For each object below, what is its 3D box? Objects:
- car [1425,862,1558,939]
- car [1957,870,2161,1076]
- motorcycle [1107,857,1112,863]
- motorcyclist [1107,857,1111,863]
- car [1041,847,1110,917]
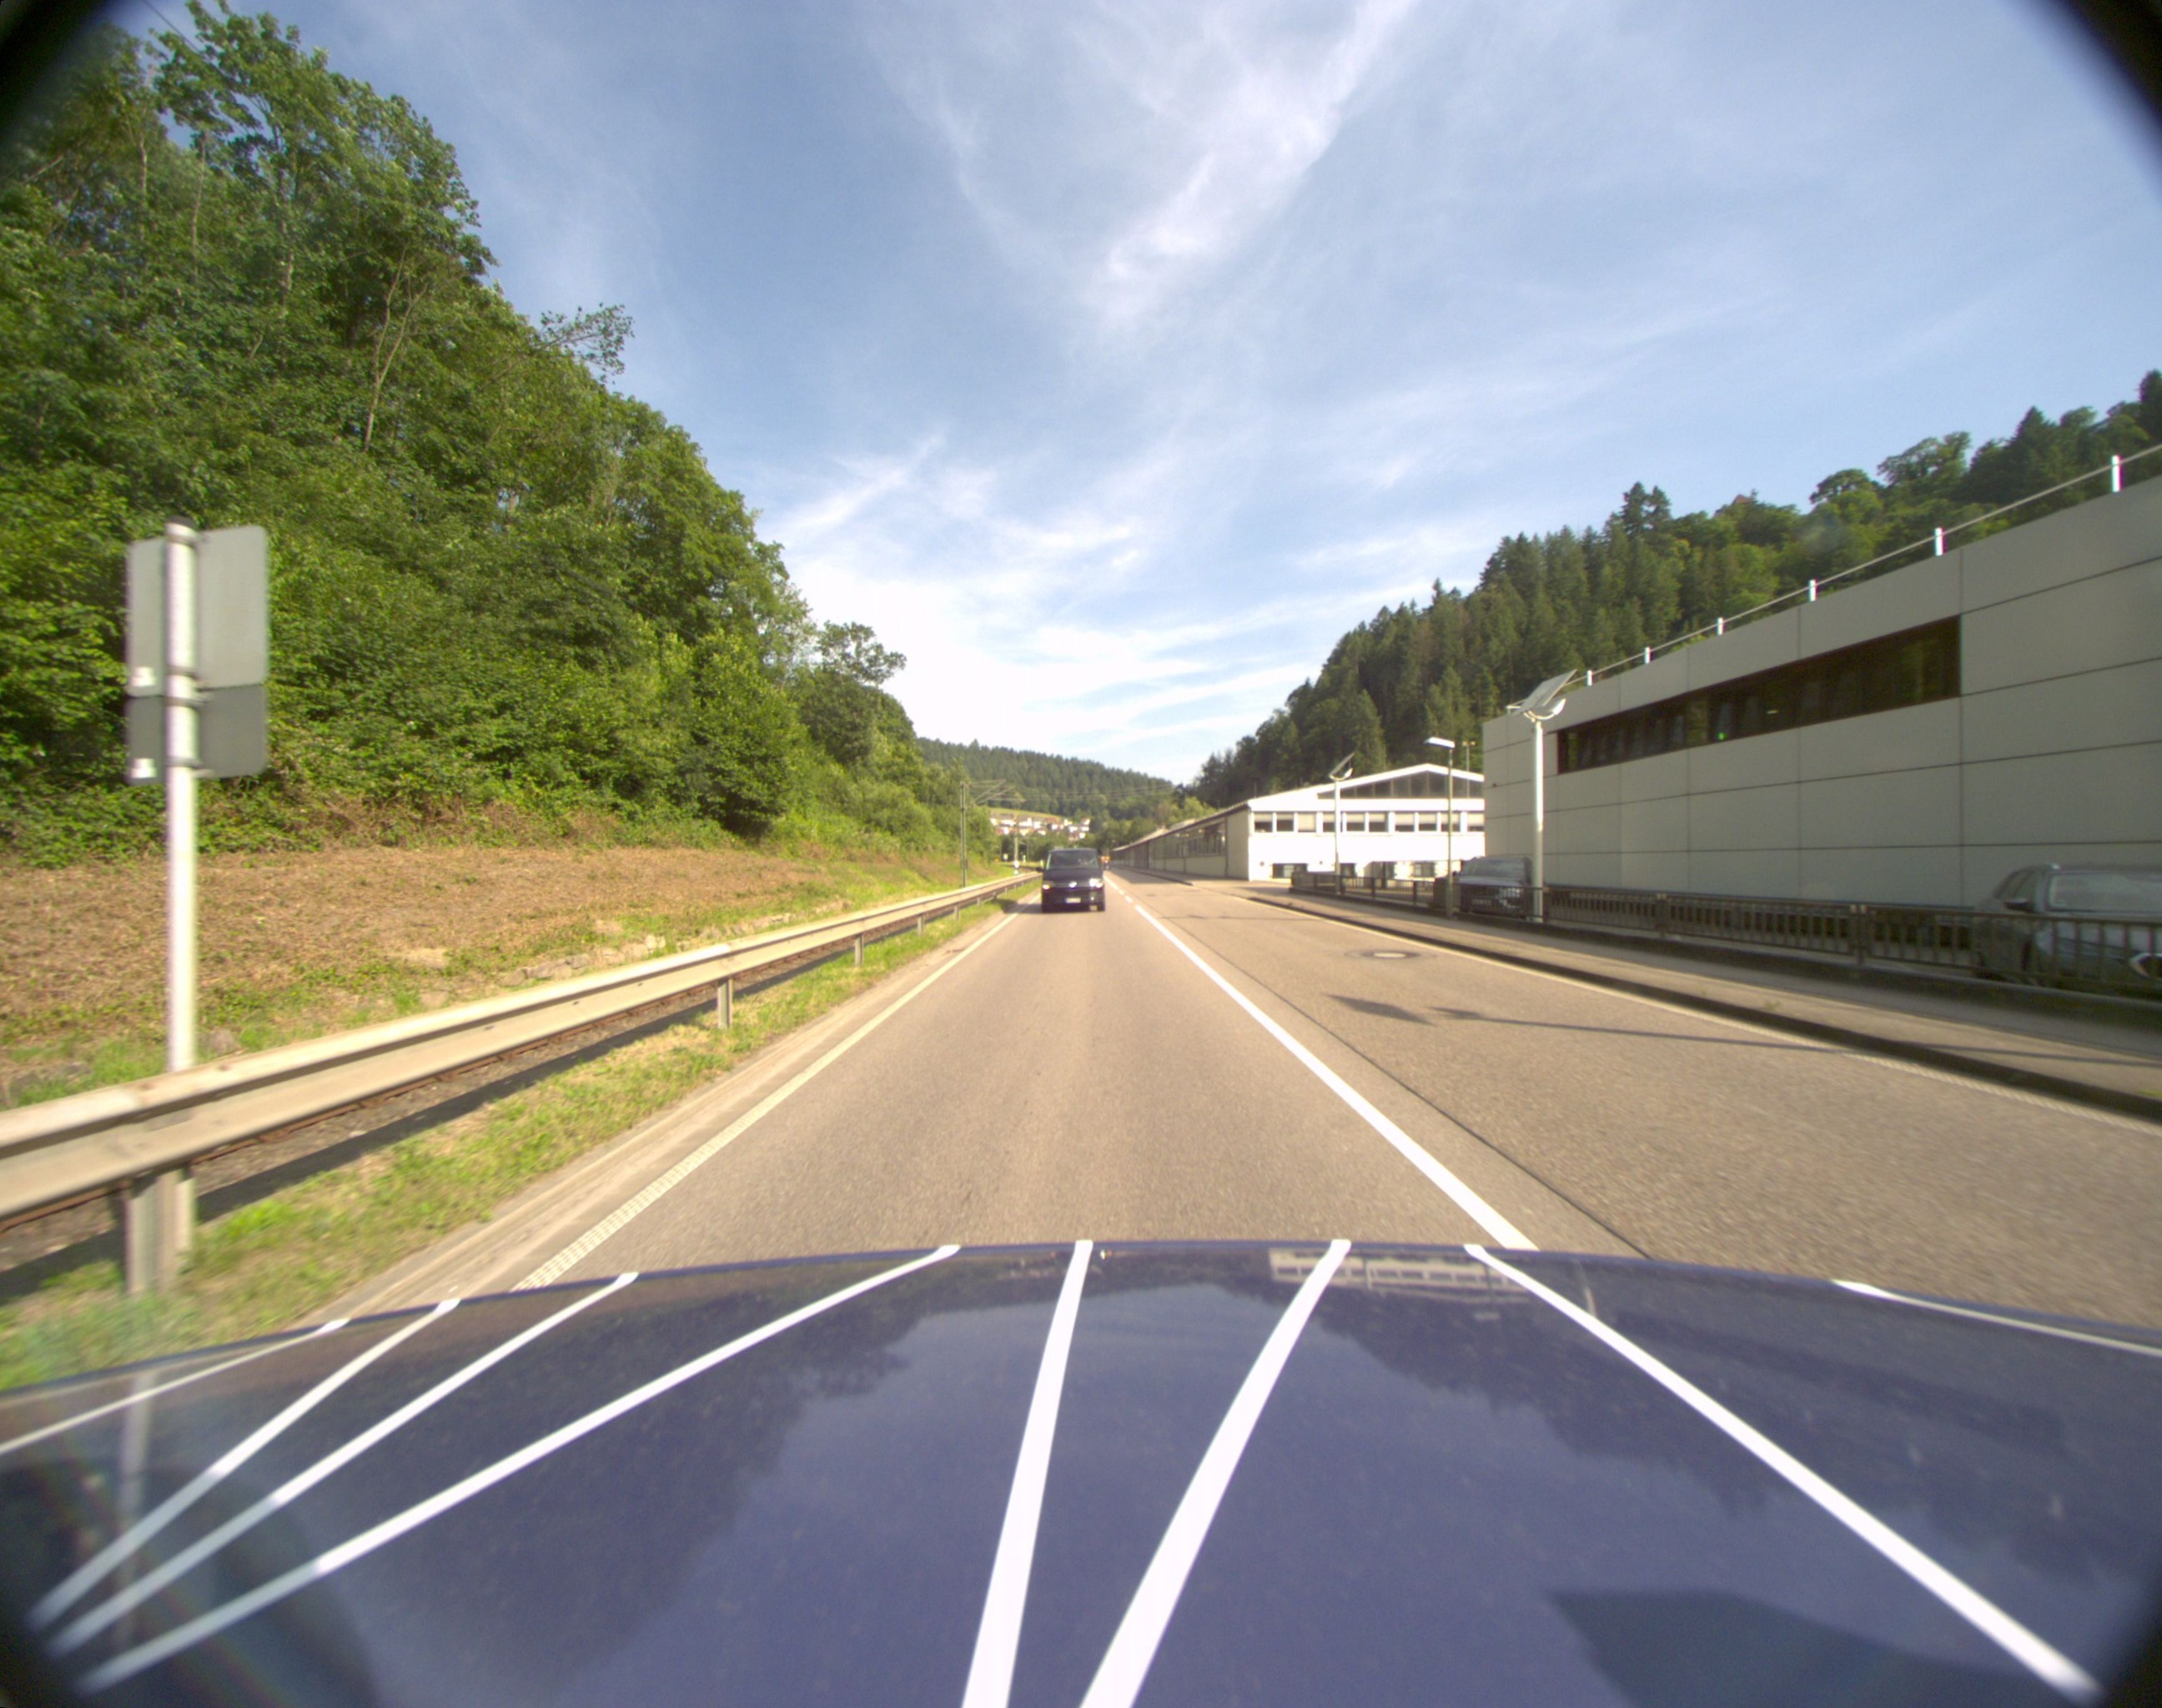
[{"bbox_3d":[10.072,1.031,18.493,1.883,1.582,4.184,-1,0,42],"label":"car"},{"bbox_3d":[10.303,0.968,7.338,1.883,1.486,4.498,-1,0,42],"label":"car"},{"bbox_3d":[5.216,1.132,140.421,0.743,1.062,2.492,-1,0,0],"label":"motorcycle"},{"bbox_3d":[5.214,1.106,140.624,0.587,1.118,0.636,-1,0,0],"label":"motorcyclist"},{"bbox_3d":[-0.273,0.814,24.234,1.901,1.927,5.187,-2,0,-3],"label":"car"}]
